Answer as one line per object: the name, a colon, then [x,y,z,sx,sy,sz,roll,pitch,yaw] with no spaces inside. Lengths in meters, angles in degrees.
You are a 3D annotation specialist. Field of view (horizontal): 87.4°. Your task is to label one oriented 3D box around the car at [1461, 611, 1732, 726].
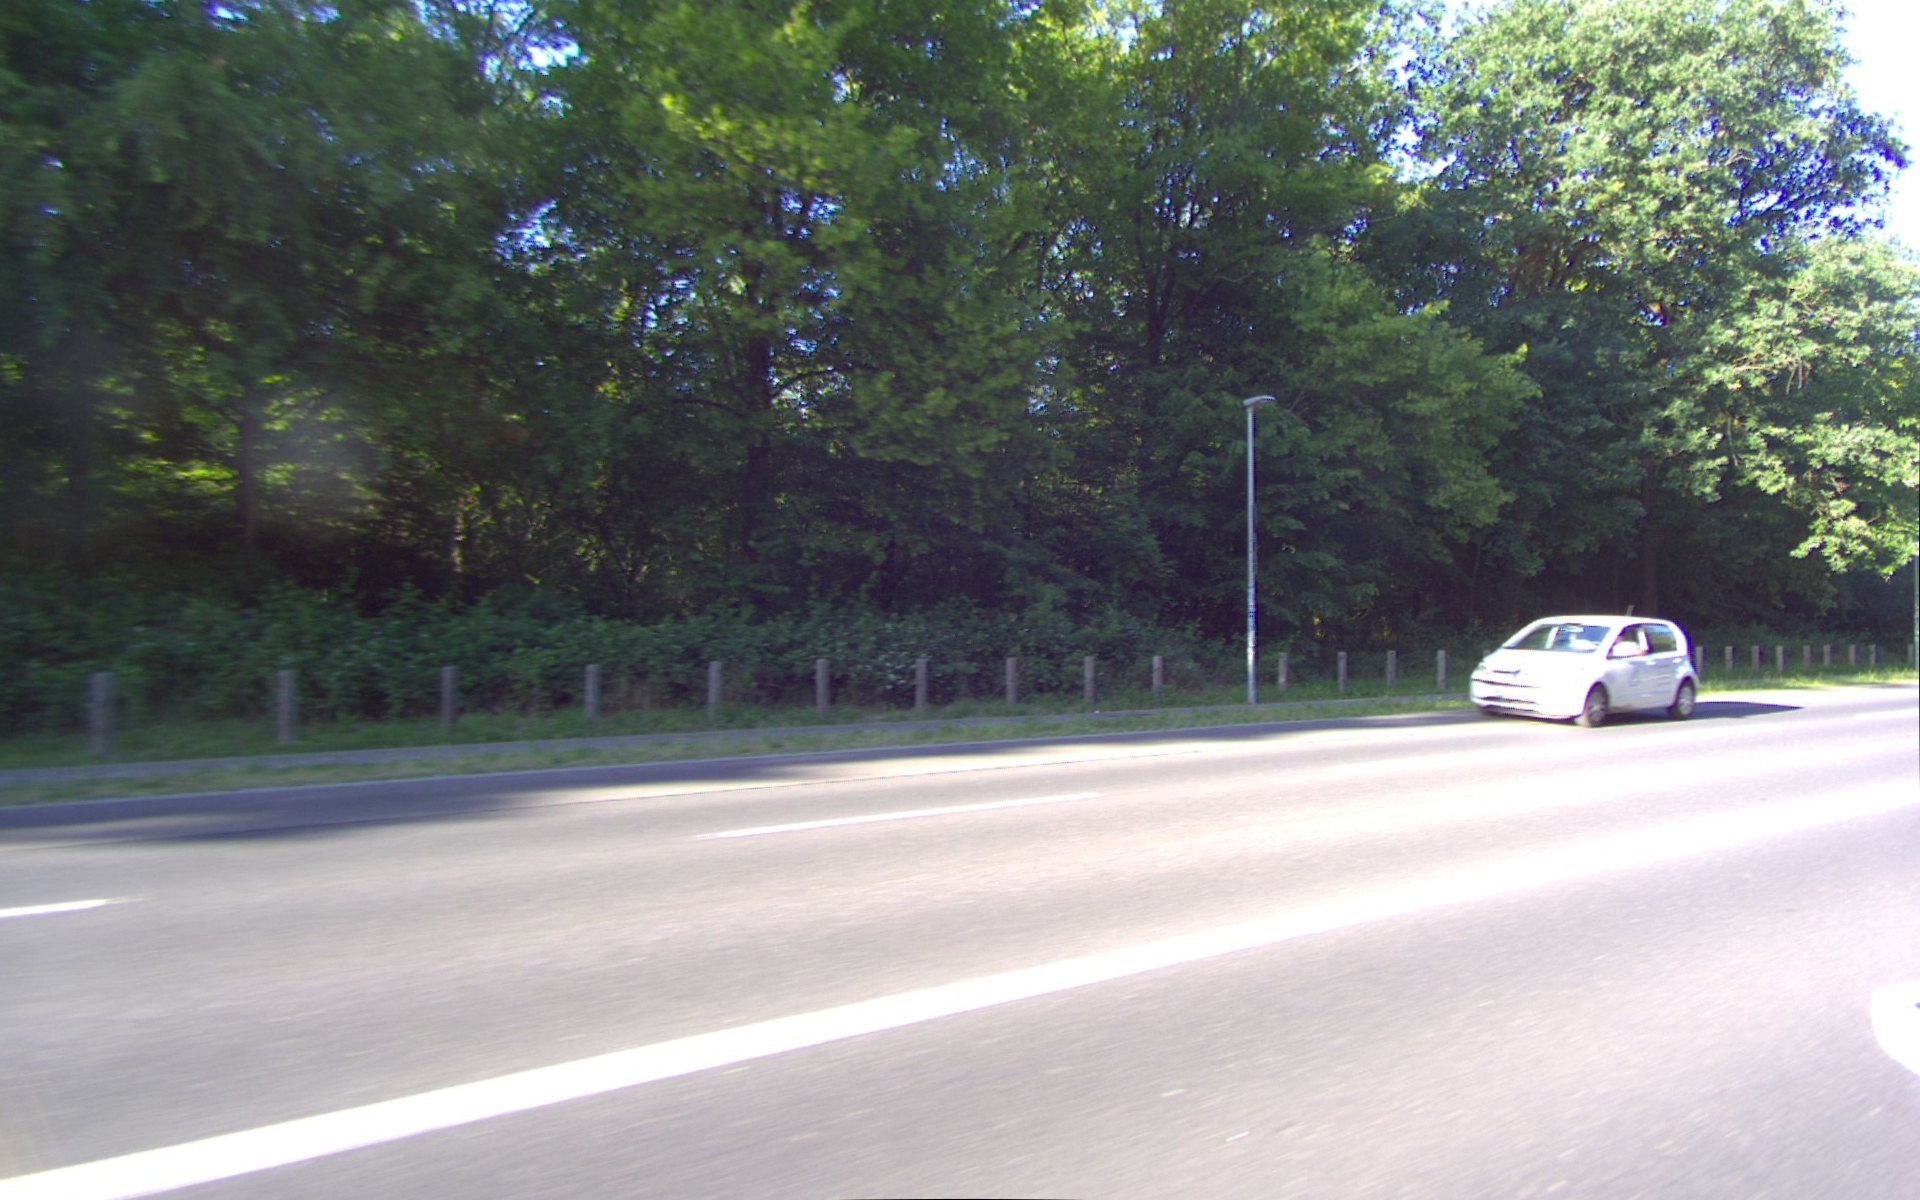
car: [9.464,0.922,14.861,4.257,1.456,1.580,1,1,-30]
